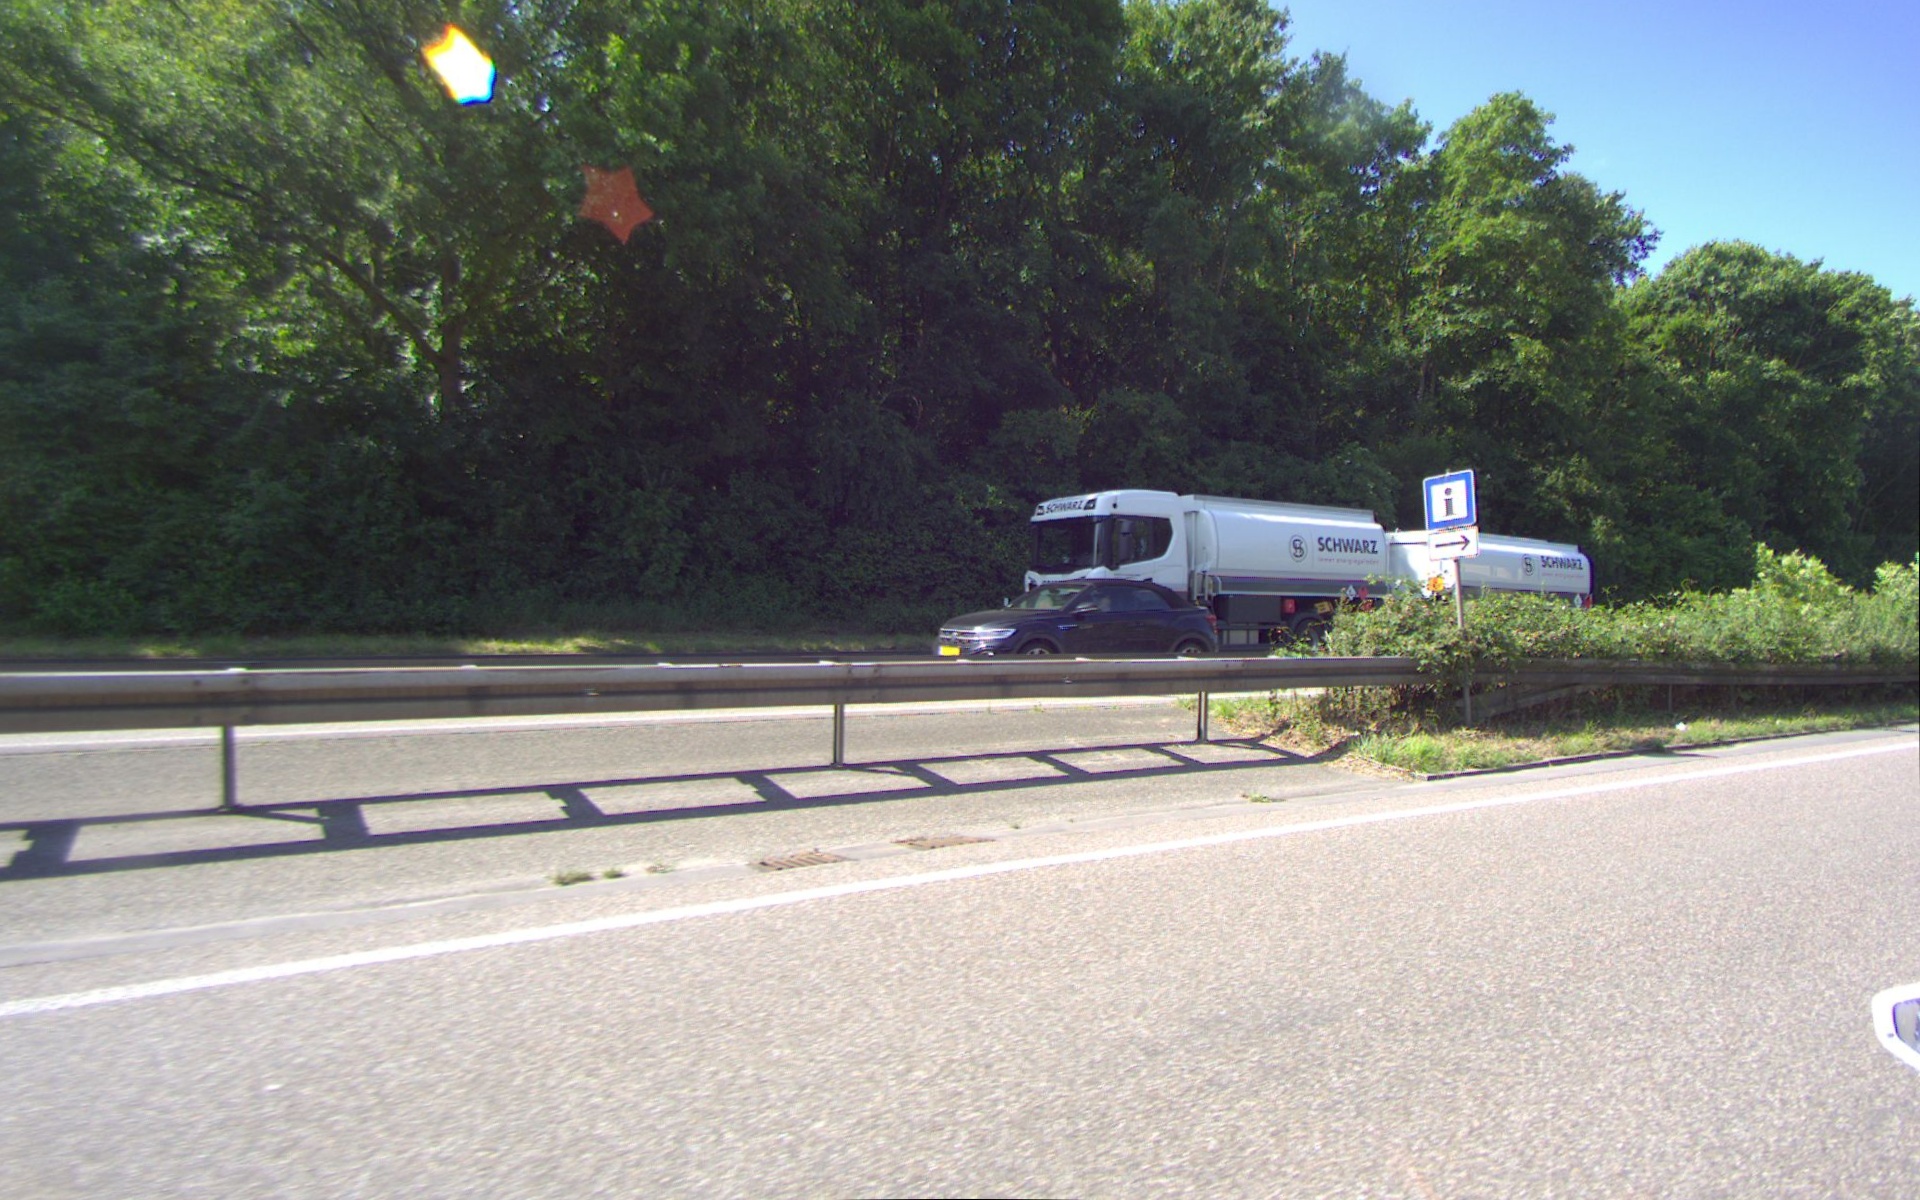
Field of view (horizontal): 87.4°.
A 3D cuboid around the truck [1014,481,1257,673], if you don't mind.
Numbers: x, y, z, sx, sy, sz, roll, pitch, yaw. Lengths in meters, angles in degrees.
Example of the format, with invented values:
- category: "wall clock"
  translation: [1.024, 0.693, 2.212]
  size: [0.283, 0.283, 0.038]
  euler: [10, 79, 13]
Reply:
- category: "truck"
  translation: [3.363, -0.365, 19.283]
  size: [3.953, 3.302, 2.413]
  euler: [1, 0, -30]

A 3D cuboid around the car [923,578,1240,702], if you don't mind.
- category: "car"
  translation: [1.741, 0.523, 13.969]
  size: [4.195, 1.500, 1.714]
  euler: [1, 0, -31]

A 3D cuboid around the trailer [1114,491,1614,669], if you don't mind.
- category: "trailer"
  translation: [9.963, -0.227, 23.204]
  size: [14.262, 3.278, 2.480]
  euler: [1, 0, -30]
